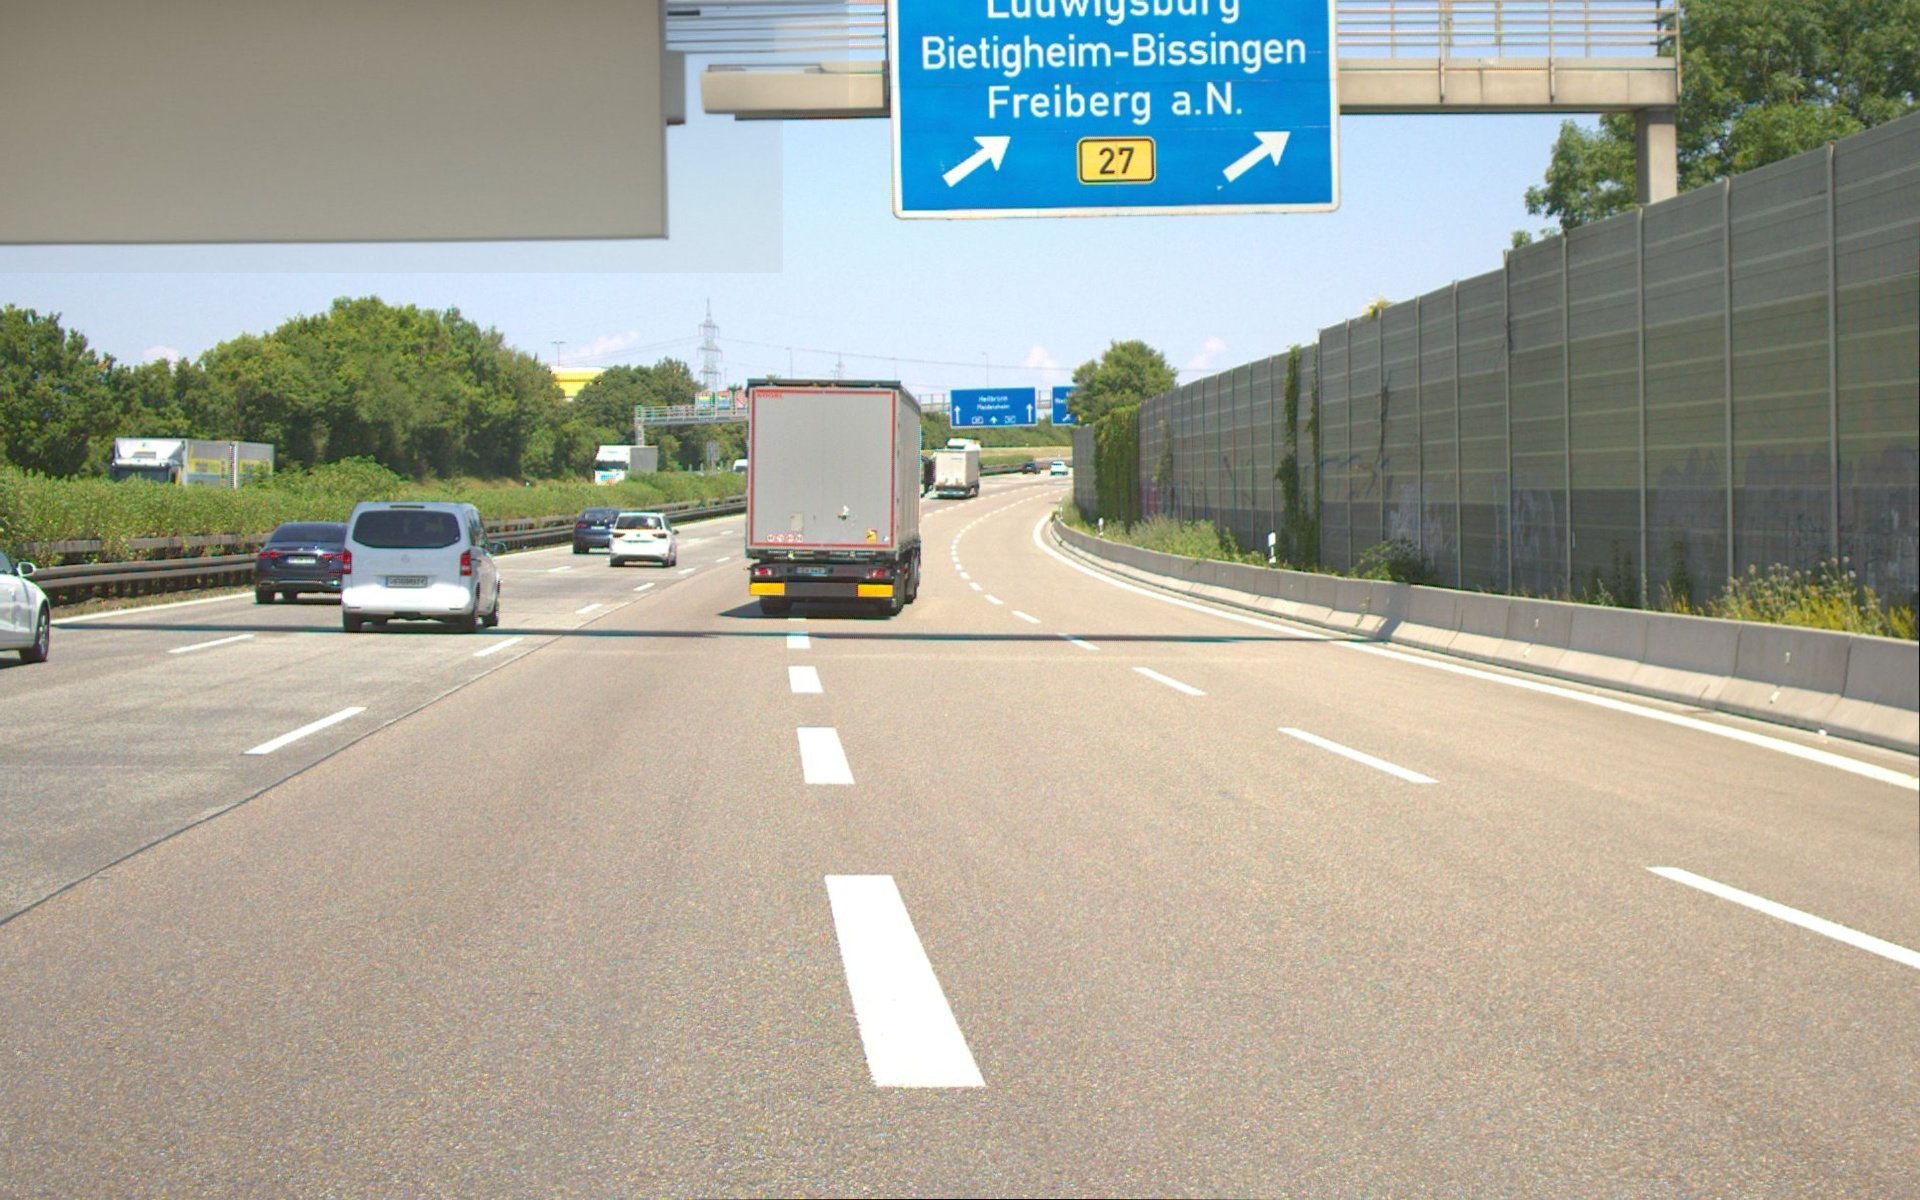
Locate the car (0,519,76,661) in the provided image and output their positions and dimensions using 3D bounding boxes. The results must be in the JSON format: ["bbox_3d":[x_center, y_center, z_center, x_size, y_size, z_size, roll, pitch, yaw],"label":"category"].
[{"bbox_3d":[-10.724,-0.136,35.963,1.876,1.435,5.126,1,1,-3],"label":"car"}]

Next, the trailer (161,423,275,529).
[{"bbox_3d":[-28.980,-4.820,134.556,2.922,3.953,8.660,1,1,-3],"label":"trailer"}]

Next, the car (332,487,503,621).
[{"bbox_3d":[-7.821,-0.655,49.944,1.930,1.845,4.693,0,0,-2],"label":"car"}]

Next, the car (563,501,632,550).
[{"bbox_3d":[-12.857,-2.667,122.165,1.904,1.683,4.631,0,2,0],"label":"car"}]

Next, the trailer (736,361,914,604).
[{"bbox_3d":[-2.438,-1.986,62.701,2.927,4.002,12.039,0,0,-2],"label":"trailer"}]

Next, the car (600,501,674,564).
[{"bbox_3d":[-9.645,-2.015,102.996,1.904,1.845,4.631,0,1,-2],"label":"car"}]

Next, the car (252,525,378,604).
[{"bbox_3d":[-11.876,-0.651,63.569,1.756,1.404,5.040,0,0,-4],"label":"car"}]

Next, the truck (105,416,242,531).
[{"bbox_3d":[-28.515,-4.549,125.048,3.001,3.953,10.323,1,1,-3],"label":"truck"}]
